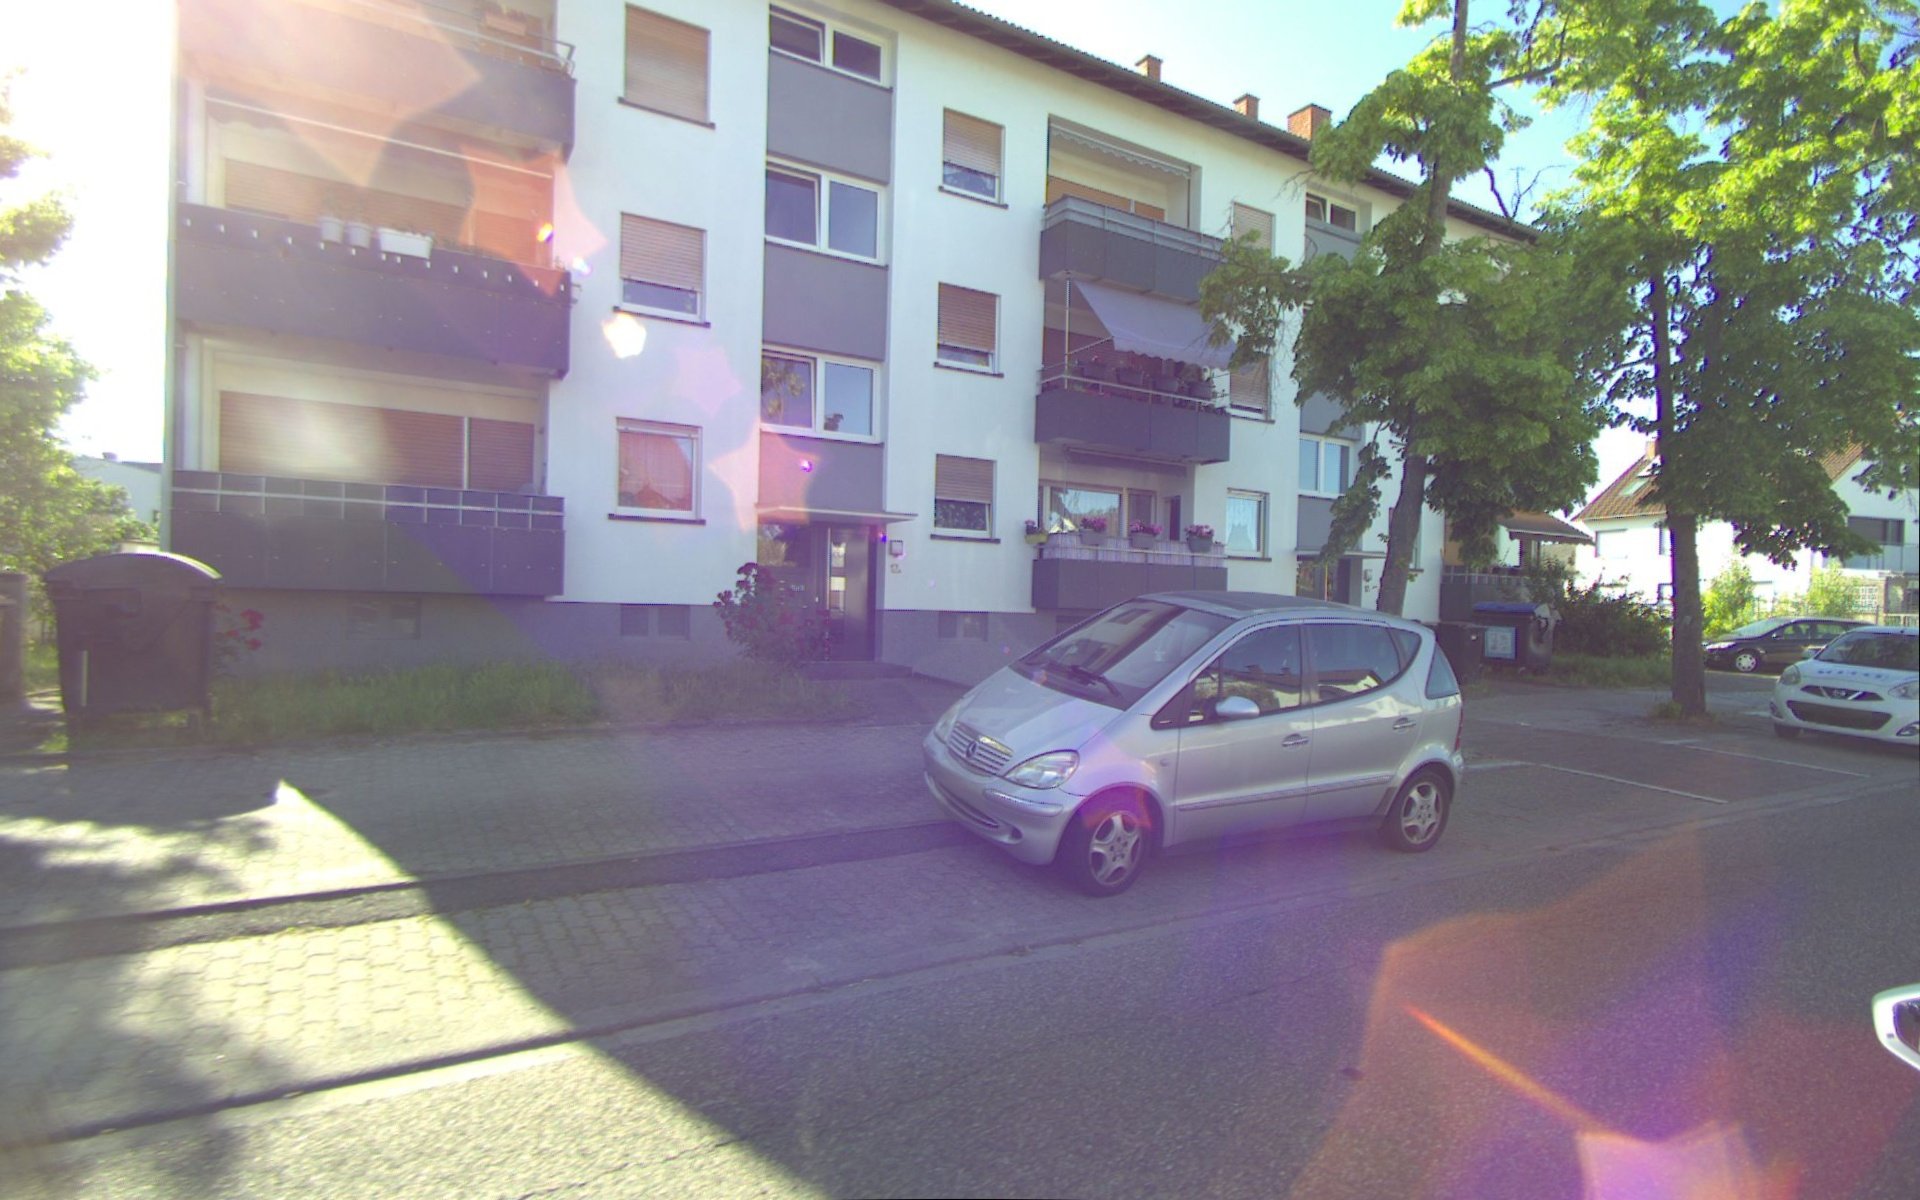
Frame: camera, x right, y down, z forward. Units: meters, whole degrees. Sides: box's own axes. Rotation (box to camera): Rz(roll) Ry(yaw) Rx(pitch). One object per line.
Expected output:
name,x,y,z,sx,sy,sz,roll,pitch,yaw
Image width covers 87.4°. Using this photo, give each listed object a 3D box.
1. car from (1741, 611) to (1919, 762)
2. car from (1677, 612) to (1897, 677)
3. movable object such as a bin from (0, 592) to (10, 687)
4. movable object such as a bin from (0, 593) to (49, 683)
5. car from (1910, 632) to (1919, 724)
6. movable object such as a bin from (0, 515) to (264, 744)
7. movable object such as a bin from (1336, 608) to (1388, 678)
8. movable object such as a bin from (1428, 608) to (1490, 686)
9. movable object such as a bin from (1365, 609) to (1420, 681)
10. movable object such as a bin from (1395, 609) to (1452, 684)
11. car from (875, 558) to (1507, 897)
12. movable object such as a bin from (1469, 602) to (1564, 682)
car,12.058,1.034,12.925,3.858,1.587,1.685,2,3,-28
car,22.122,1.158,27.022,4.299,1.534,1.615,2,0,10
movable object such as a bin,-9.647,0.390,9.858,0.385,0.932,0.339,1,0,-30
movable object such as a bin,-9.936,0.395,10.606,0.368,0.932,0.412,1,0,-30
car,17.366,1.310,16.366,4.263,1.454,1.601,1,1,-31
movable object such as a bin,-6.270,0.215,7.746,1.311,1.564,1.285,1,0,-29
movable object such as a bin,7.633,0.813,19.084,0.663,1.296,0.636,1,0,-28
movable object such as a bin,8.566,0.793,17.257,0.663,1.296,0.684,1,0,-28
movable object such as a bin,7.948,0.819,18.470,0.663,1.296,0.636,1,0,-28
movable object such as a bin,8.239,0.810,17.853,0.663,1.296,0.636,1,0,-28
car,1.583,0.678,6.718,3.860,1.614,1.714,2,5,-29
movable object such as a bin,10.891,0.801,19.679,1.102,1.502,1.226,1,0,-28
